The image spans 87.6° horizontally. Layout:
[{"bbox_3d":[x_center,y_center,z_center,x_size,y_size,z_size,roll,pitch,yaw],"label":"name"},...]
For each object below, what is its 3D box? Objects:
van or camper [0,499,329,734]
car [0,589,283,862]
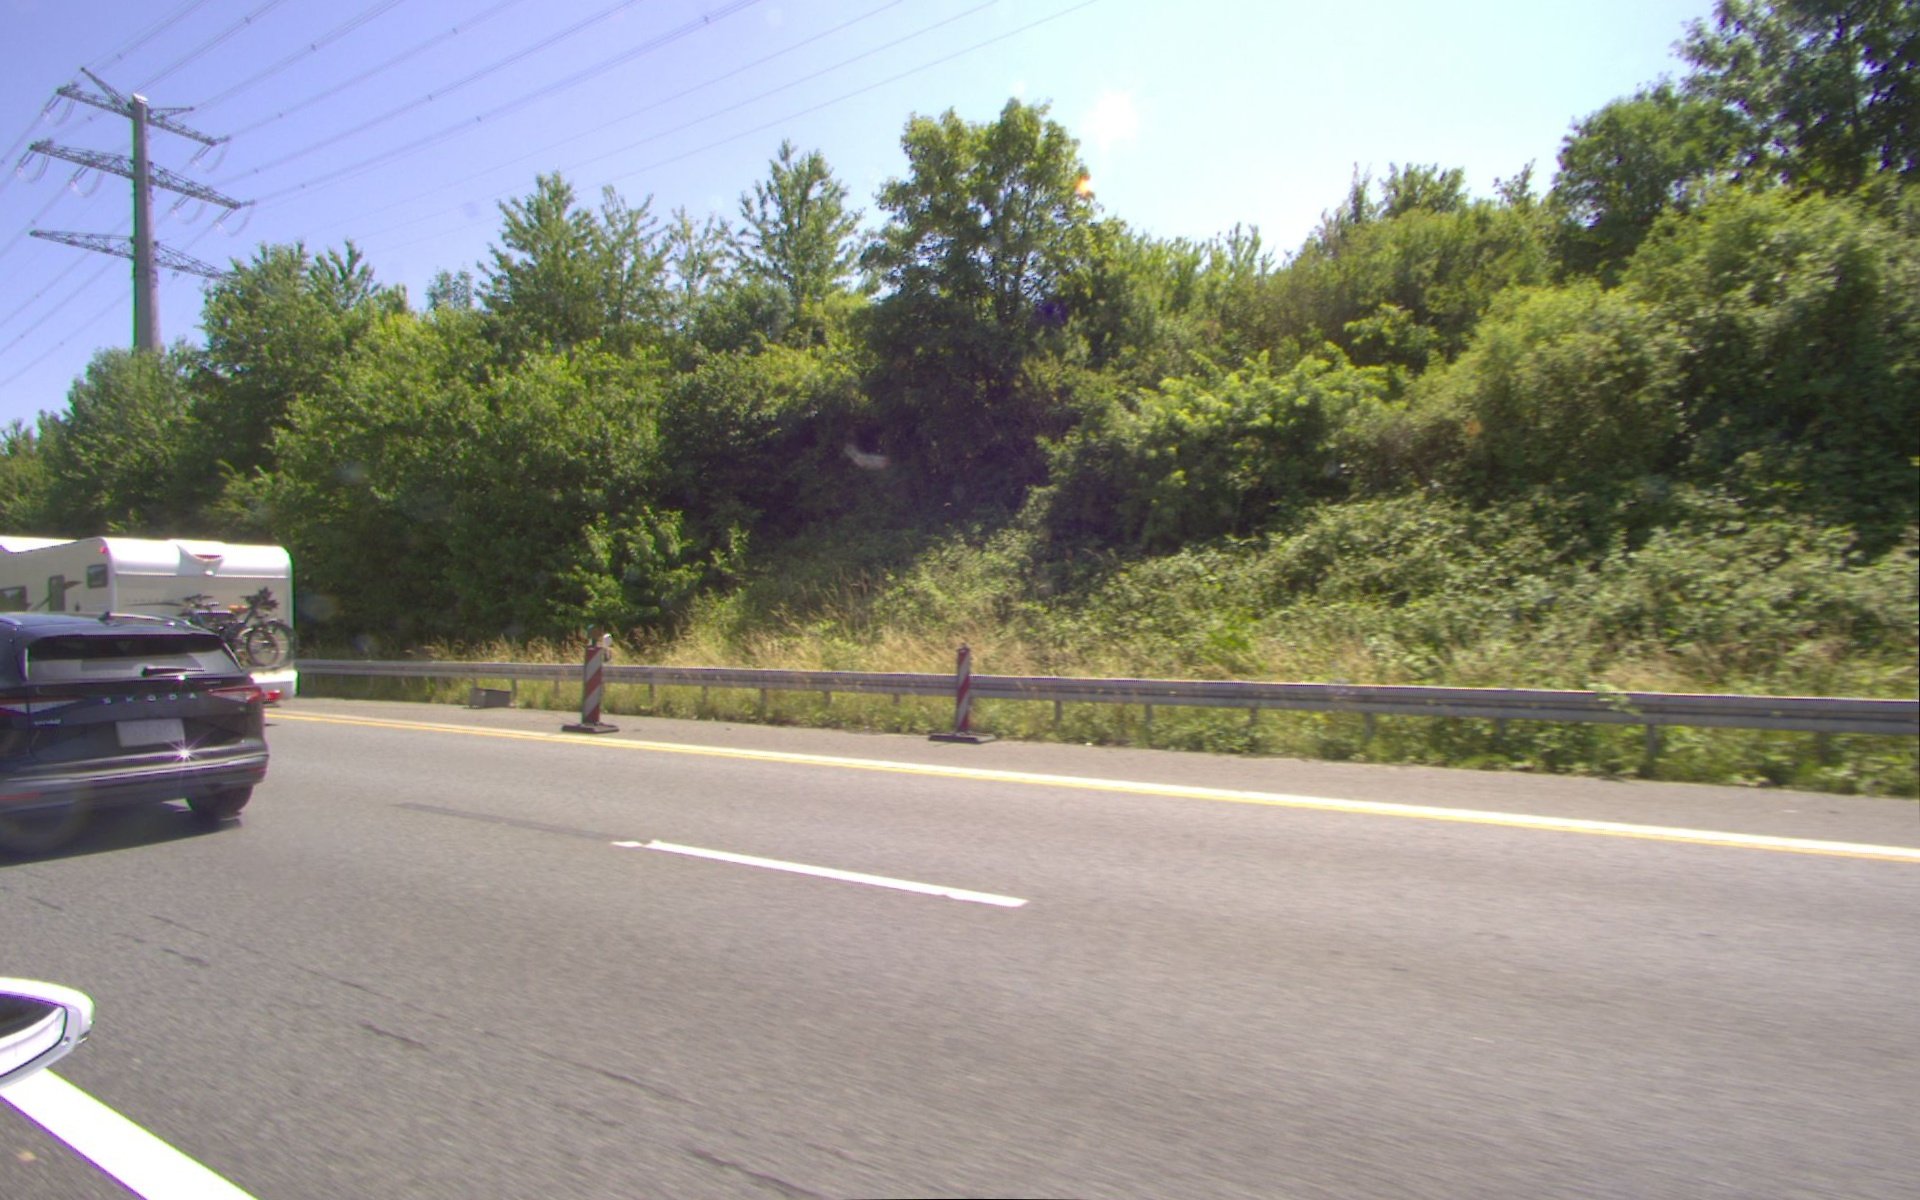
[{"bbox_3d":[-13.377,0.325,16.176,7.524,3.082,2.365,-1,-2,32],"label":"van or camper"},{"bbox_3d":[-7.396,0.836,7.913,4.365,1.676,1.699,-1,-2,31],"label":"car"}]
